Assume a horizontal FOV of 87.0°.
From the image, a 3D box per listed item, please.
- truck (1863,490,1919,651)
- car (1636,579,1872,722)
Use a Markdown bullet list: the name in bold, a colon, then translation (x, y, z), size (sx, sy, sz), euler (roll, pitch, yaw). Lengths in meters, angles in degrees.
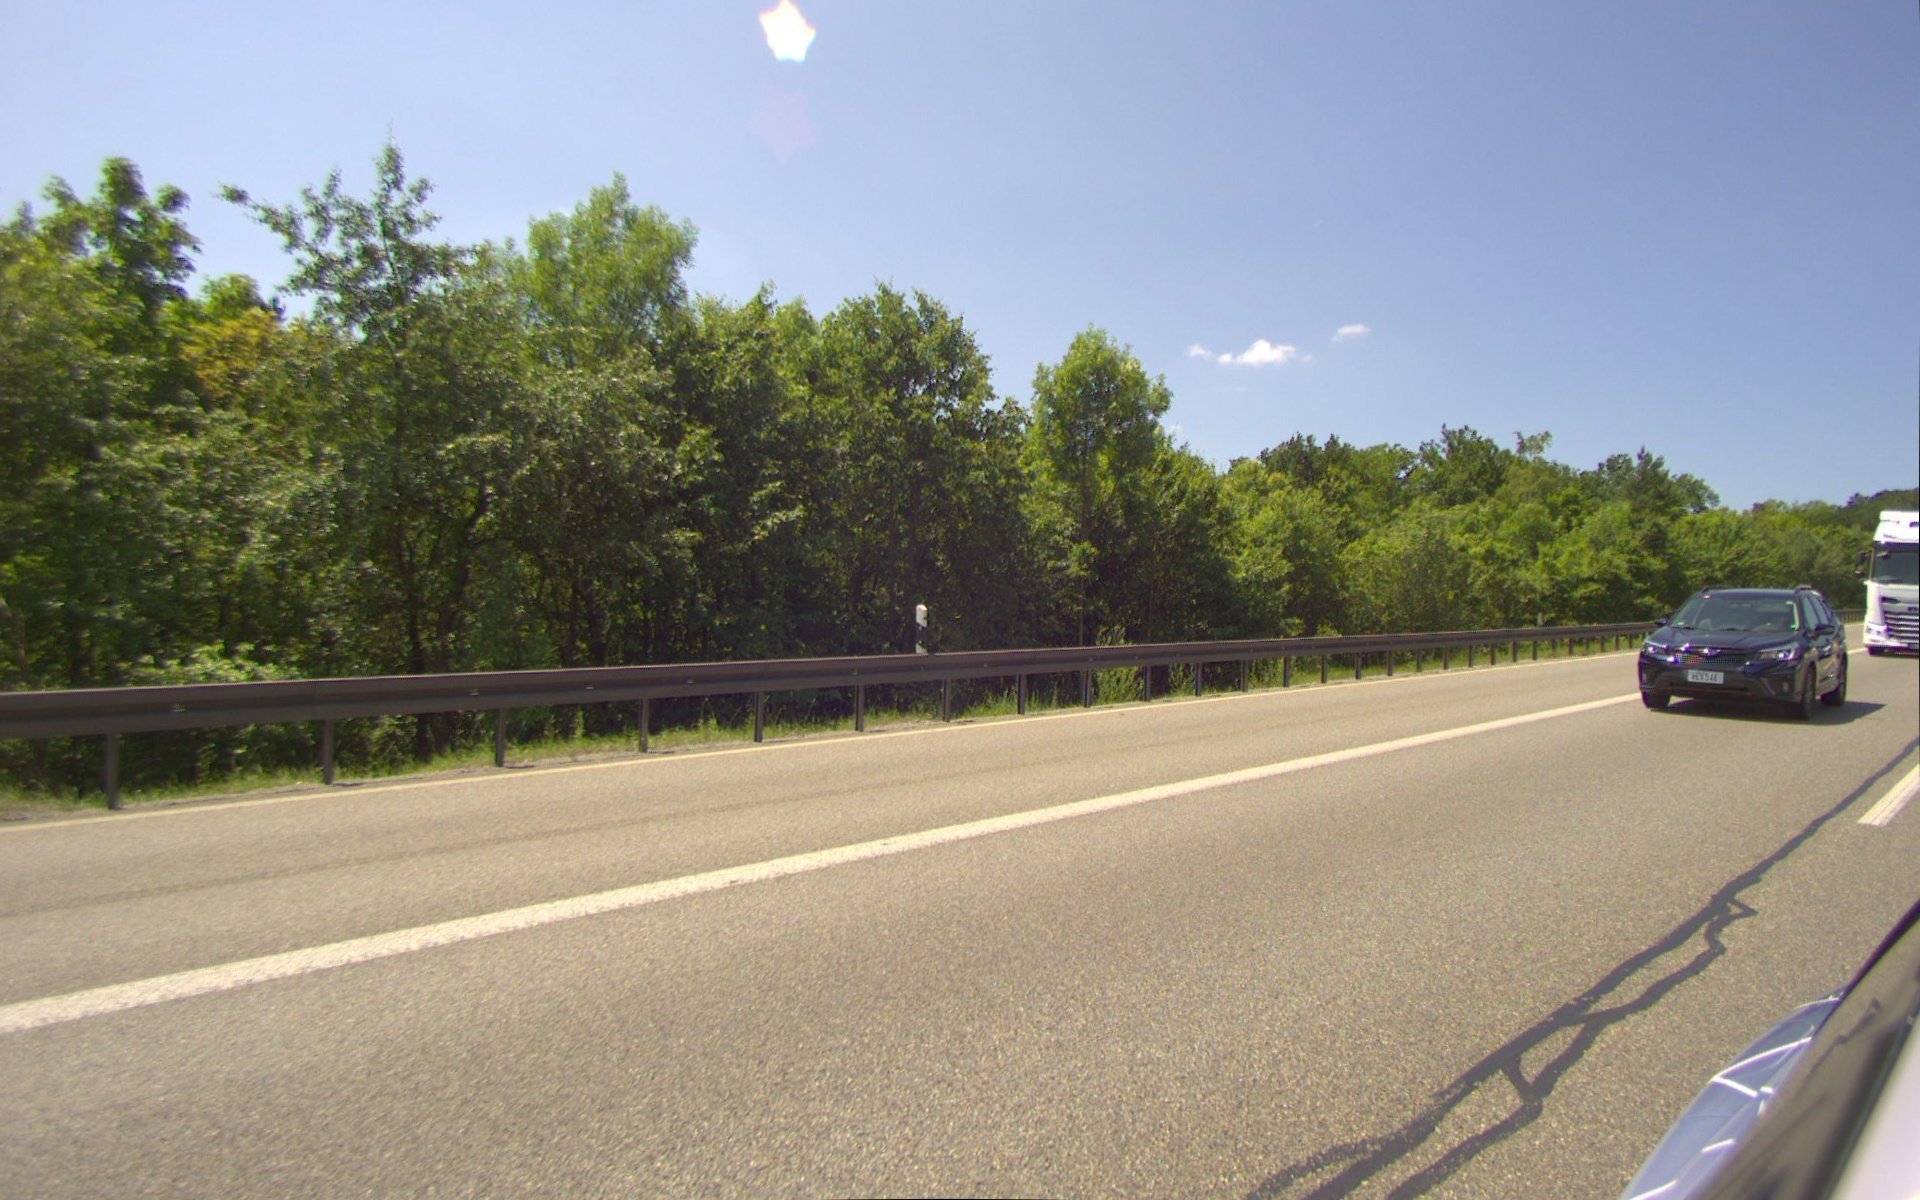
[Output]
- **truck**: translation (31.527, -0.776, 31.615), size (15.982, 4.220, 2.789), euler (0, 2, -41)
- **car**: translation (11.238, 0.594, 14.224), size (4.129, 1.688, 1.815), euler (0, 1, -41)
